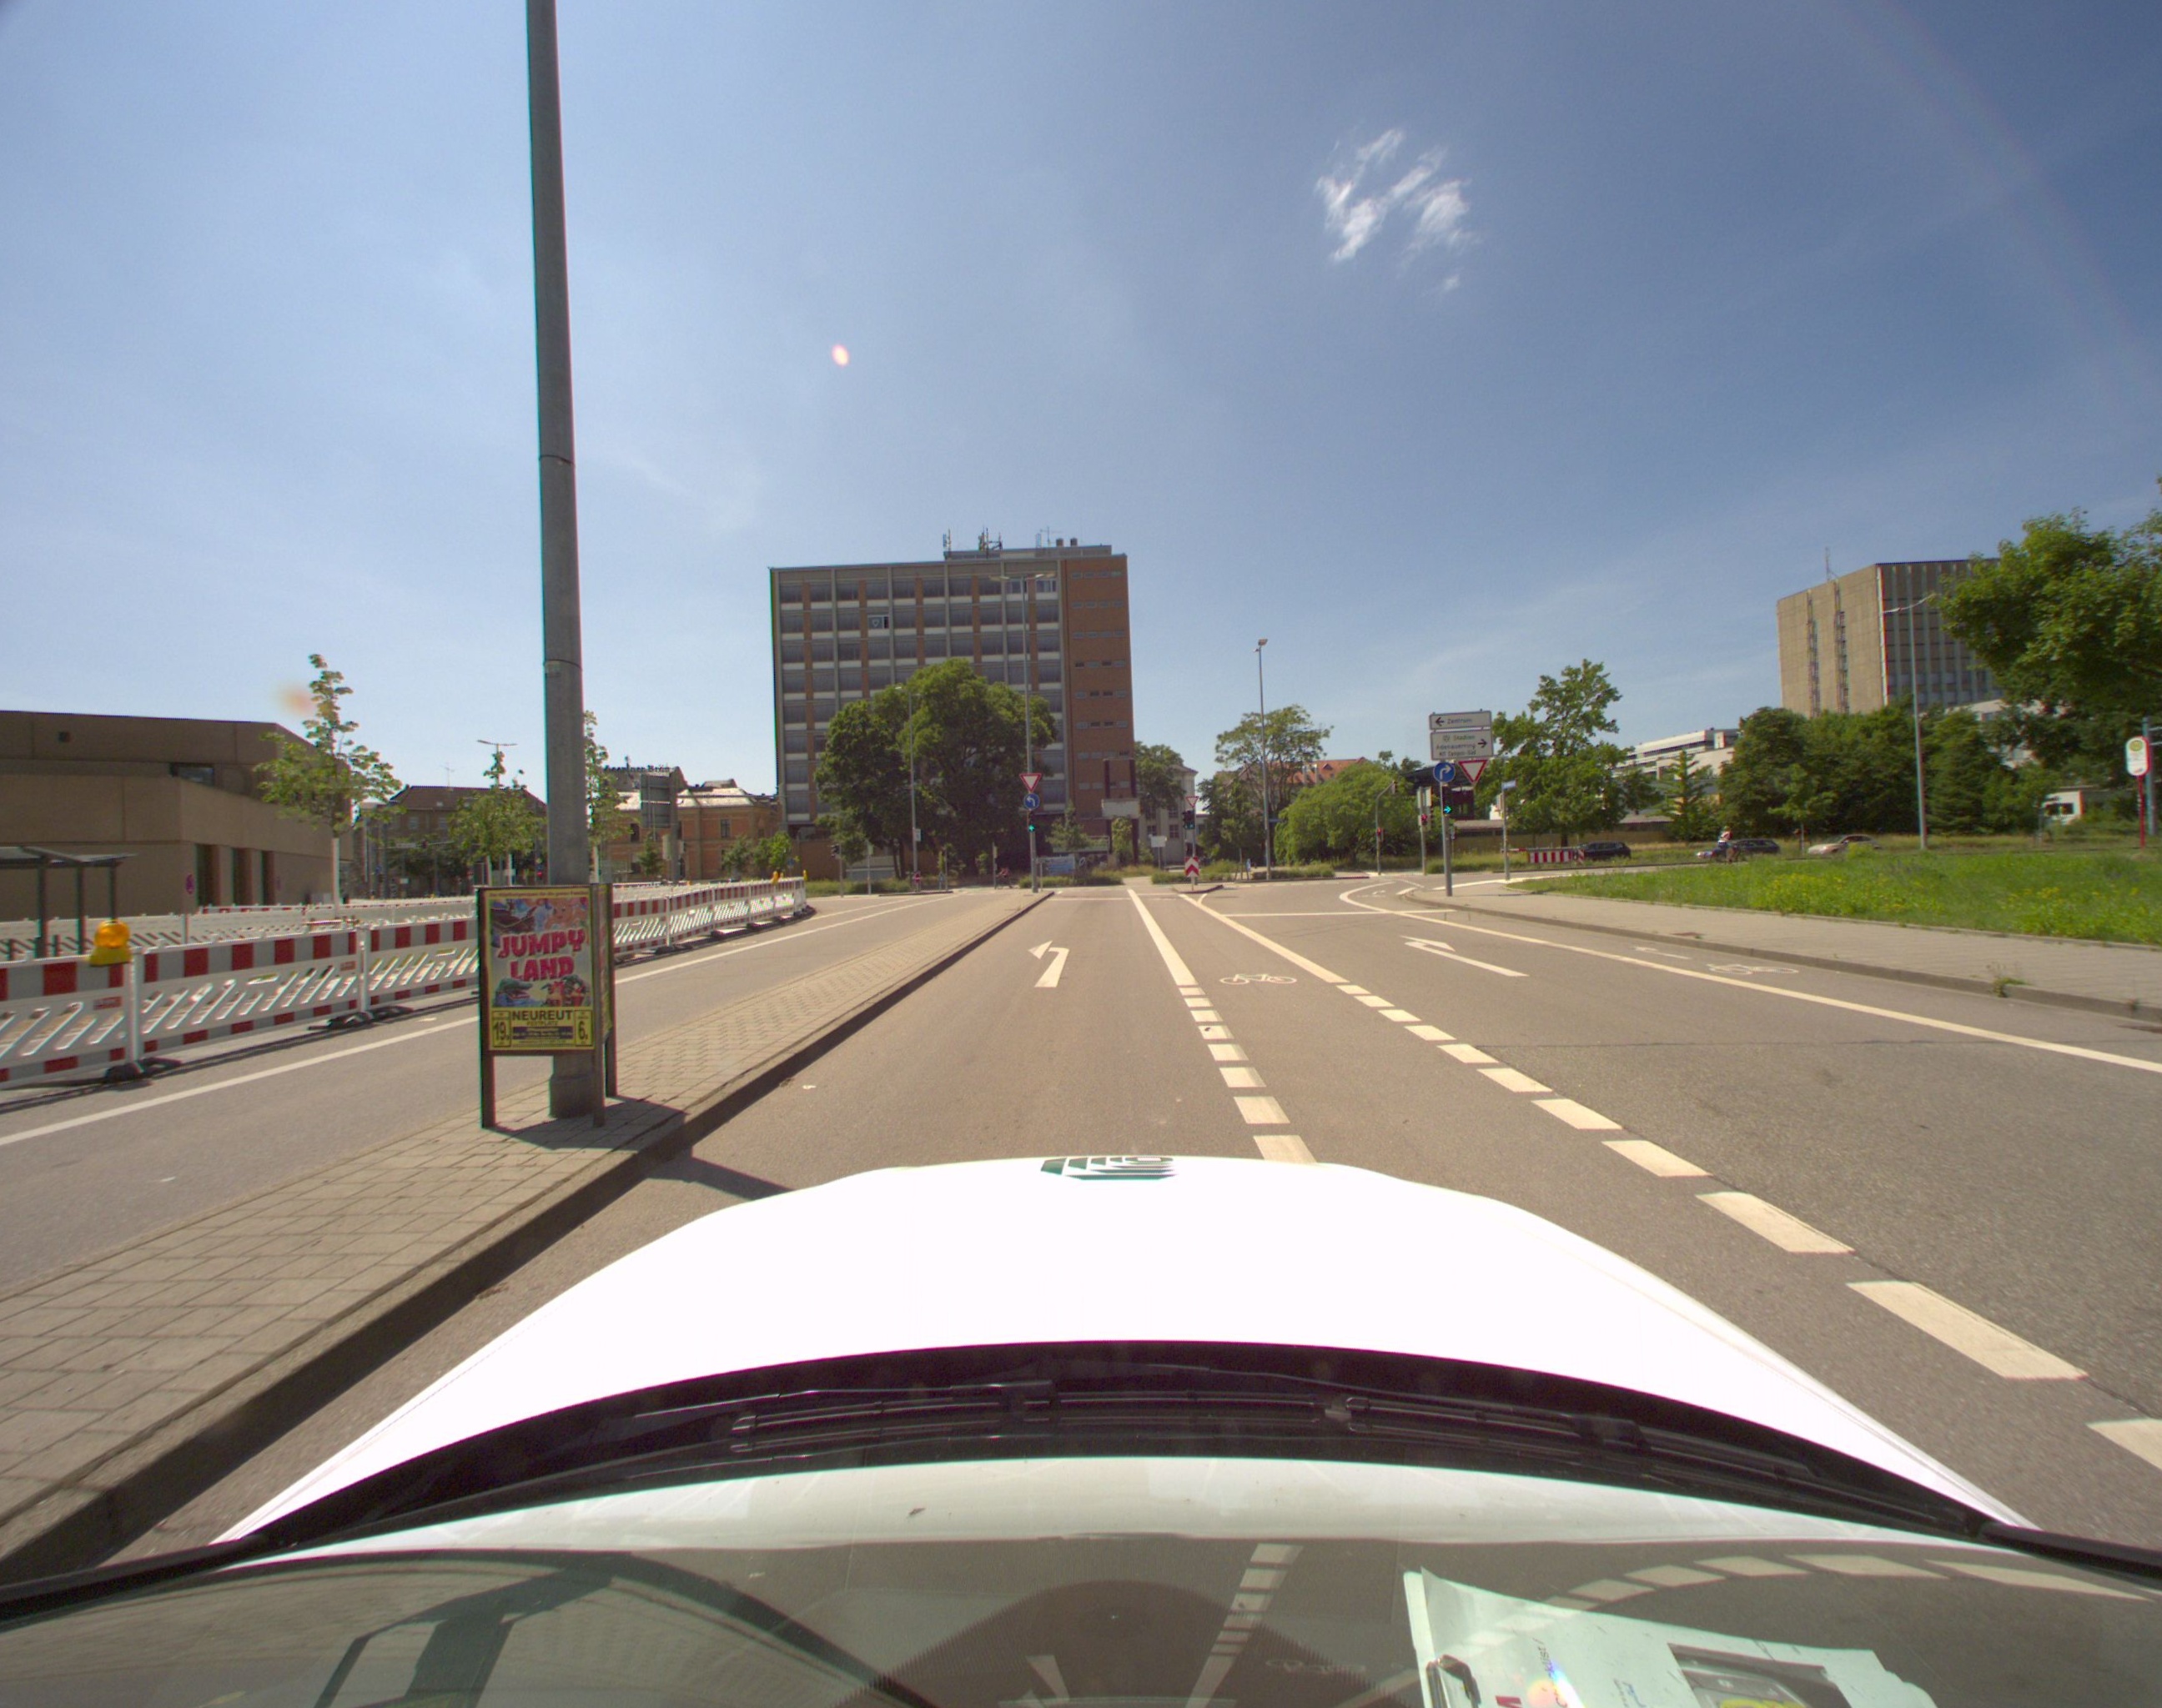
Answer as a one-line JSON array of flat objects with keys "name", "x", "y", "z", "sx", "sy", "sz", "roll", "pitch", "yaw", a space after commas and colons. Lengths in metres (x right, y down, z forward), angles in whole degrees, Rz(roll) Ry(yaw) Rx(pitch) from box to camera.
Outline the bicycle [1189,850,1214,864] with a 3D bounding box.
[{"name": "bicycle", "x": 17.280, "y": 0.416, "z": 116.525, "sx": 3.432, "sy": 2.014, "sz": 0.761, "roll": 0, "pitch": -1, "yaw": 3}]

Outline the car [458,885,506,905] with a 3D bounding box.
[{"name": "car", "x": -53.160, "y": 3.660, "z": 72.280, "sx": 4.528, "sy": 1.557, "sz": 1.733, "roll": -3, "pitch": -1, "yaw": 30}]

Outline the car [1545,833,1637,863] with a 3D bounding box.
[{"name": "car", "x": 31.644, "y": -0.370, "z": 50.639, "sx": 4.516, "sy": 1.586, "sz": 1.713, "roll": -3, "pitch": -1, "yaw": 7}]

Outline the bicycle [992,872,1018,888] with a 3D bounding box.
[{"name": "bicycle", "x": -5.695, "y": 1.937, "z": 61.213, "sx": 0.551, "sy": 1.045, "sz": 2.009, "roll": -1, "pitch": 1, "yaw": 43}]

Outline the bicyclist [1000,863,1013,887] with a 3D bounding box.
[{"name": "bicyclist", "x": -5.616, "y": 1.580, "z": 61.283, "sx": 0.544, "sy": 1.715, "sz": 0.707, "roll": -1, "pitch": 1, "yaw": 43}]

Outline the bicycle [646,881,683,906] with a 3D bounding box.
[{"name": "bicycle", "x": -21.658, "y": 2.059, "z": 42.316, "sx": 1.876, "sy": 1.180, "sz": 0.527, "roll": -3, "pitch": -1, "yaw": 19}]

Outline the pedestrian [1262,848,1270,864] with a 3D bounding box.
[{"name": "pedestrian", "x": 19.592, "y": 0.236, "z": 86.224, "sx": 0.637, "sy": 1.665, "sz": 0.707, "roll": 0, "pitch": -1, "yaw": 1}]

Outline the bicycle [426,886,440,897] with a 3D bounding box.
[{"name": "bicycle", "x": -107.151, "y": 6.227, "z": 134.668, "sx": 3.140, "sy": 1.788, "sz": 0.618, "roll": -1, "pitch": -1, "yaw": 31}]

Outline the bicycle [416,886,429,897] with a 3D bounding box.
[{"name": "bicycle", "x": -107.963, "y": 6.147, "z": 133.467, "sx": 3.140, "sy": 1.788, "sz": 0.618, "roll": -1, "pitch": -1, "yaw": 31}]

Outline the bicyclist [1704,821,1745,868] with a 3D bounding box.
[{"name": "bicyclist", "x": 26.071, "y": -0.396, "z": 32.999, "sx": 1.134, "sy": 1.887, "sz": 0.707, "roll": 0, "pitch": -1, "yaw": -7}]

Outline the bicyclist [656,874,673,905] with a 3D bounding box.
[{"name": "bicyclist", "x": -21.651, "y": 1.857, "z": 42.327, "sx": 0.492, "sy": 1.580, "sz": 0.534, "roll": -3, "pitch": -2, "yaw": 19}]

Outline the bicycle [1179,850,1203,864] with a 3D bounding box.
[{"name": "bicycle", "x": 16.176, "y": 0.449, "z": 119.712, "sx": 3.432, "sy": 2.014, "sz": 0.761, "roll": 0, "pitch": -1, "yaw": 3}]

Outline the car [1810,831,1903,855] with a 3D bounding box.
[{"name": "car", "x": 47.136, "y": -0.647, "z": 49.571, "sx": 3.973, "sy": 1.439, "sz": 1.760, "roll": 0, "pitch": -1, "yaw": 1}]

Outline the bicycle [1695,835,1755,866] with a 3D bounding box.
[{"name": "bicycle", "x": 26.078, "y": -0.142, "z": 32.983, "sx": 2.182, "sy": 1.237, "sz": 0.520, "roll": 0, "pitch": -1, "yaw": -7}]

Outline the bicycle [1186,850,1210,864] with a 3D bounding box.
[{"name": "bicycle", "x": 16.922, "y": 0.460, "z": 117.633, "sx": 3.432, "sy": 2.014, "sz": 0.761, "roll": 0, "pitch": -1, "yaw": 3}]

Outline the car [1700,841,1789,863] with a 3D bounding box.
[{"name": "car", "x": 40.239, "y": -0.127, "z": 49.421, "sx": 3.973, "sy": 1.310, "sz": 1.760, "roll": 0, "pitch": -1, "yaw": 1}]
